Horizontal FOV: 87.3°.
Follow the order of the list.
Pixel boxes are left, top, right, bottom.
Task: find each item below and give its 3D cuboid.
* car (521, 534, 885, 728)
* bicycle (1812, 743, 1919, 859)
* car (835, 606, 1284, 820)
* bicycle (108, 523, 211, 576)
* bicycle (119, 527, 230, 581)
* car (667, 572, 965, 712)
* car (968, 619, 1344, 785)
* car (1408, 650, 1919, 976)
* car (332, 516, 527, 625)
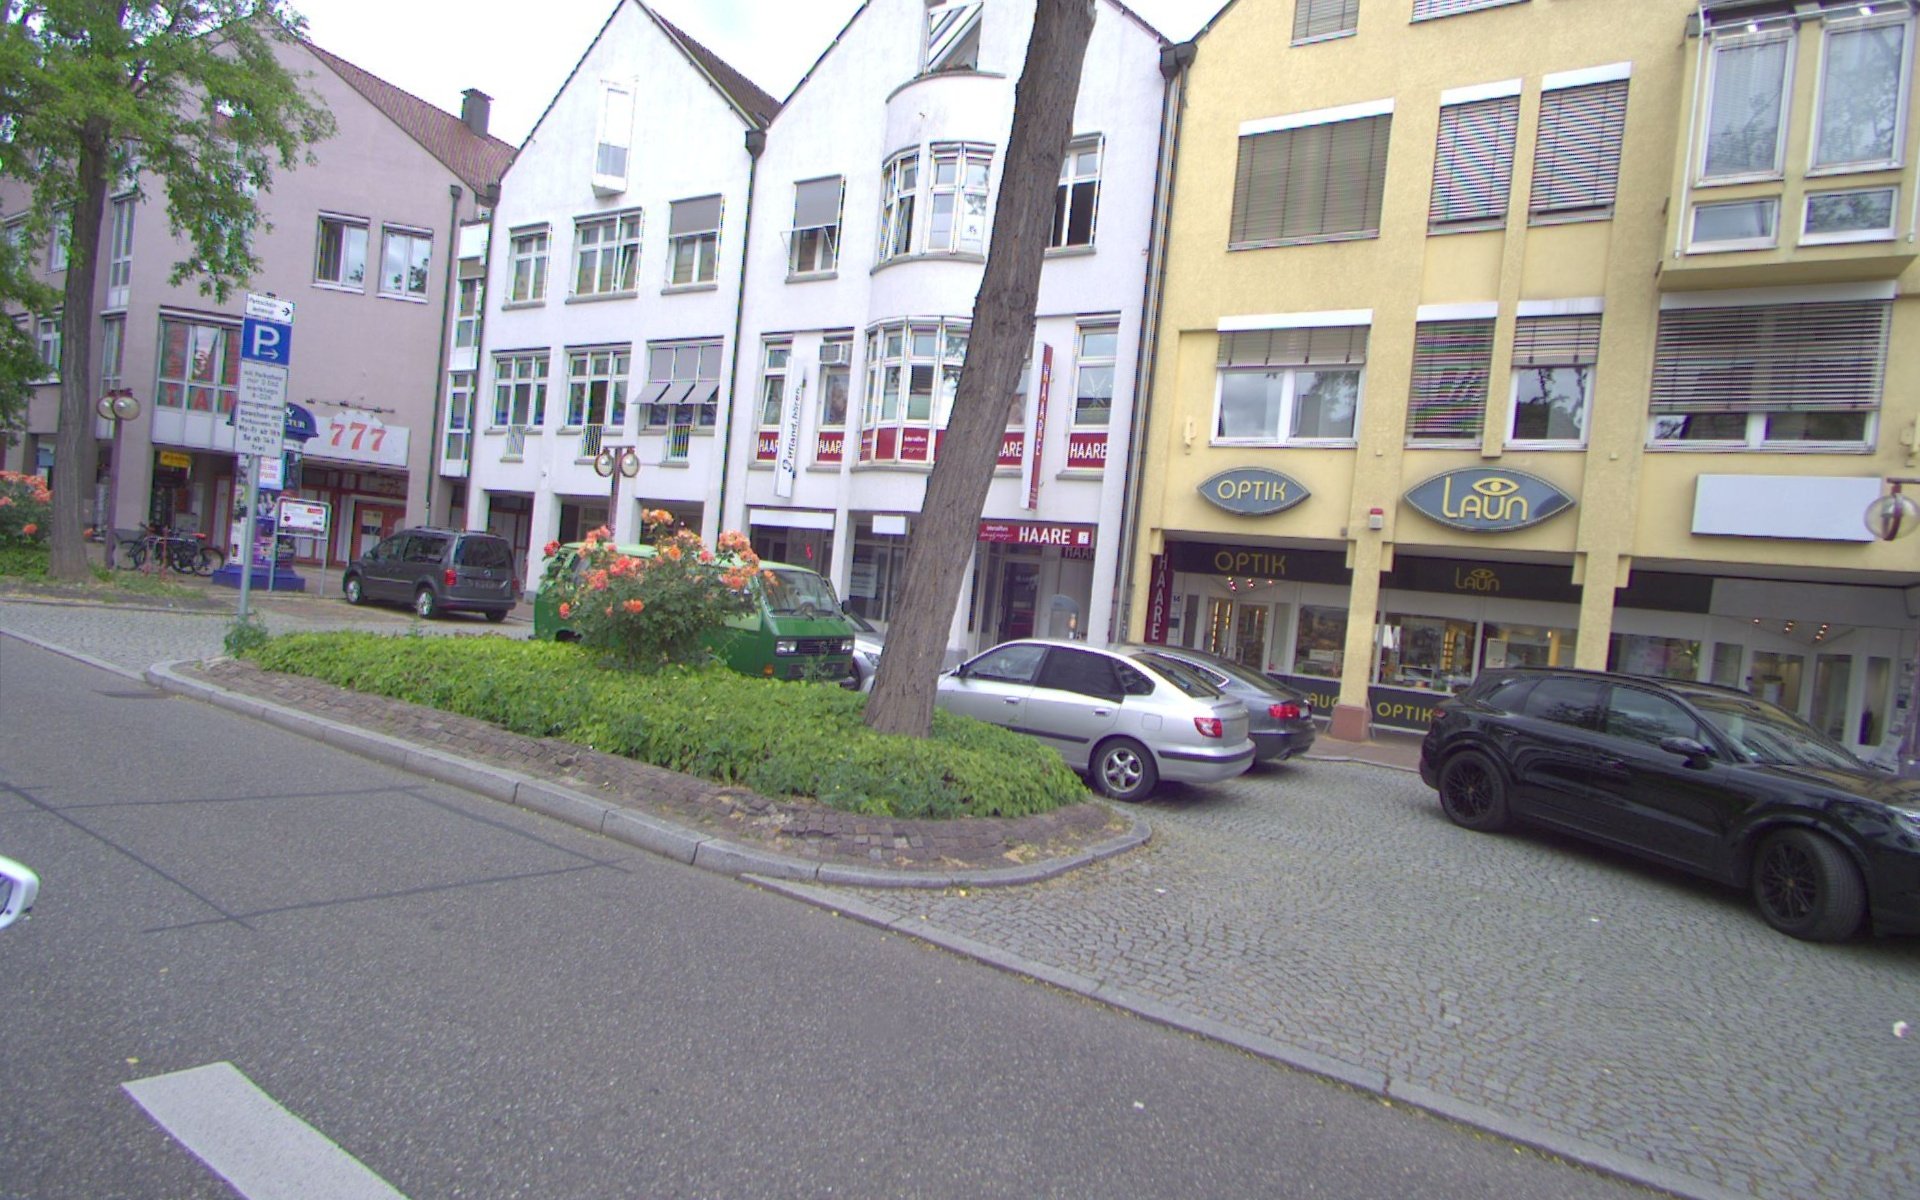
[{"bbox_3d":[-3.470,0.316,13.335,4.527,1.901,1.882,7,2,30],"label":"car"},{"bbox_3d":[10.134,2.193,10.806,1.356,1.058,0.392,7,2,32],"label":"bicycle"},{"bbox_3d":[0.996,1.070,10.800,4.344,1.468,1.765,7,0,30],"label":"car"},{"bbox_3d":[-18.654,-1.155,23.492,0.440,1.009,1.769,7,0,36],"label":"bicycle"},{"bbox_3d":[-18.147,-1.056,23.289,0.460,1.009,1.901,7,0,36],"label":"bicycle"},{"bbox_3d":[-2.298,0.590,15.727,4.320,1.562,1.797,7,2,30],"label":"car"},{"bbox_3d":[2.533,1.207,13.226,4.344,1.394,1.999,7,1,30],"label":"car"},{"bbox_3d":[6.421,1.567,8.699,1.832,1.692,4.641,6,1,-19],"label":"car"},{"bbox_3d":[-11.314,-0.636,21.431,3.898,1.855,1.639,7,1,28],"label":"car"}]
